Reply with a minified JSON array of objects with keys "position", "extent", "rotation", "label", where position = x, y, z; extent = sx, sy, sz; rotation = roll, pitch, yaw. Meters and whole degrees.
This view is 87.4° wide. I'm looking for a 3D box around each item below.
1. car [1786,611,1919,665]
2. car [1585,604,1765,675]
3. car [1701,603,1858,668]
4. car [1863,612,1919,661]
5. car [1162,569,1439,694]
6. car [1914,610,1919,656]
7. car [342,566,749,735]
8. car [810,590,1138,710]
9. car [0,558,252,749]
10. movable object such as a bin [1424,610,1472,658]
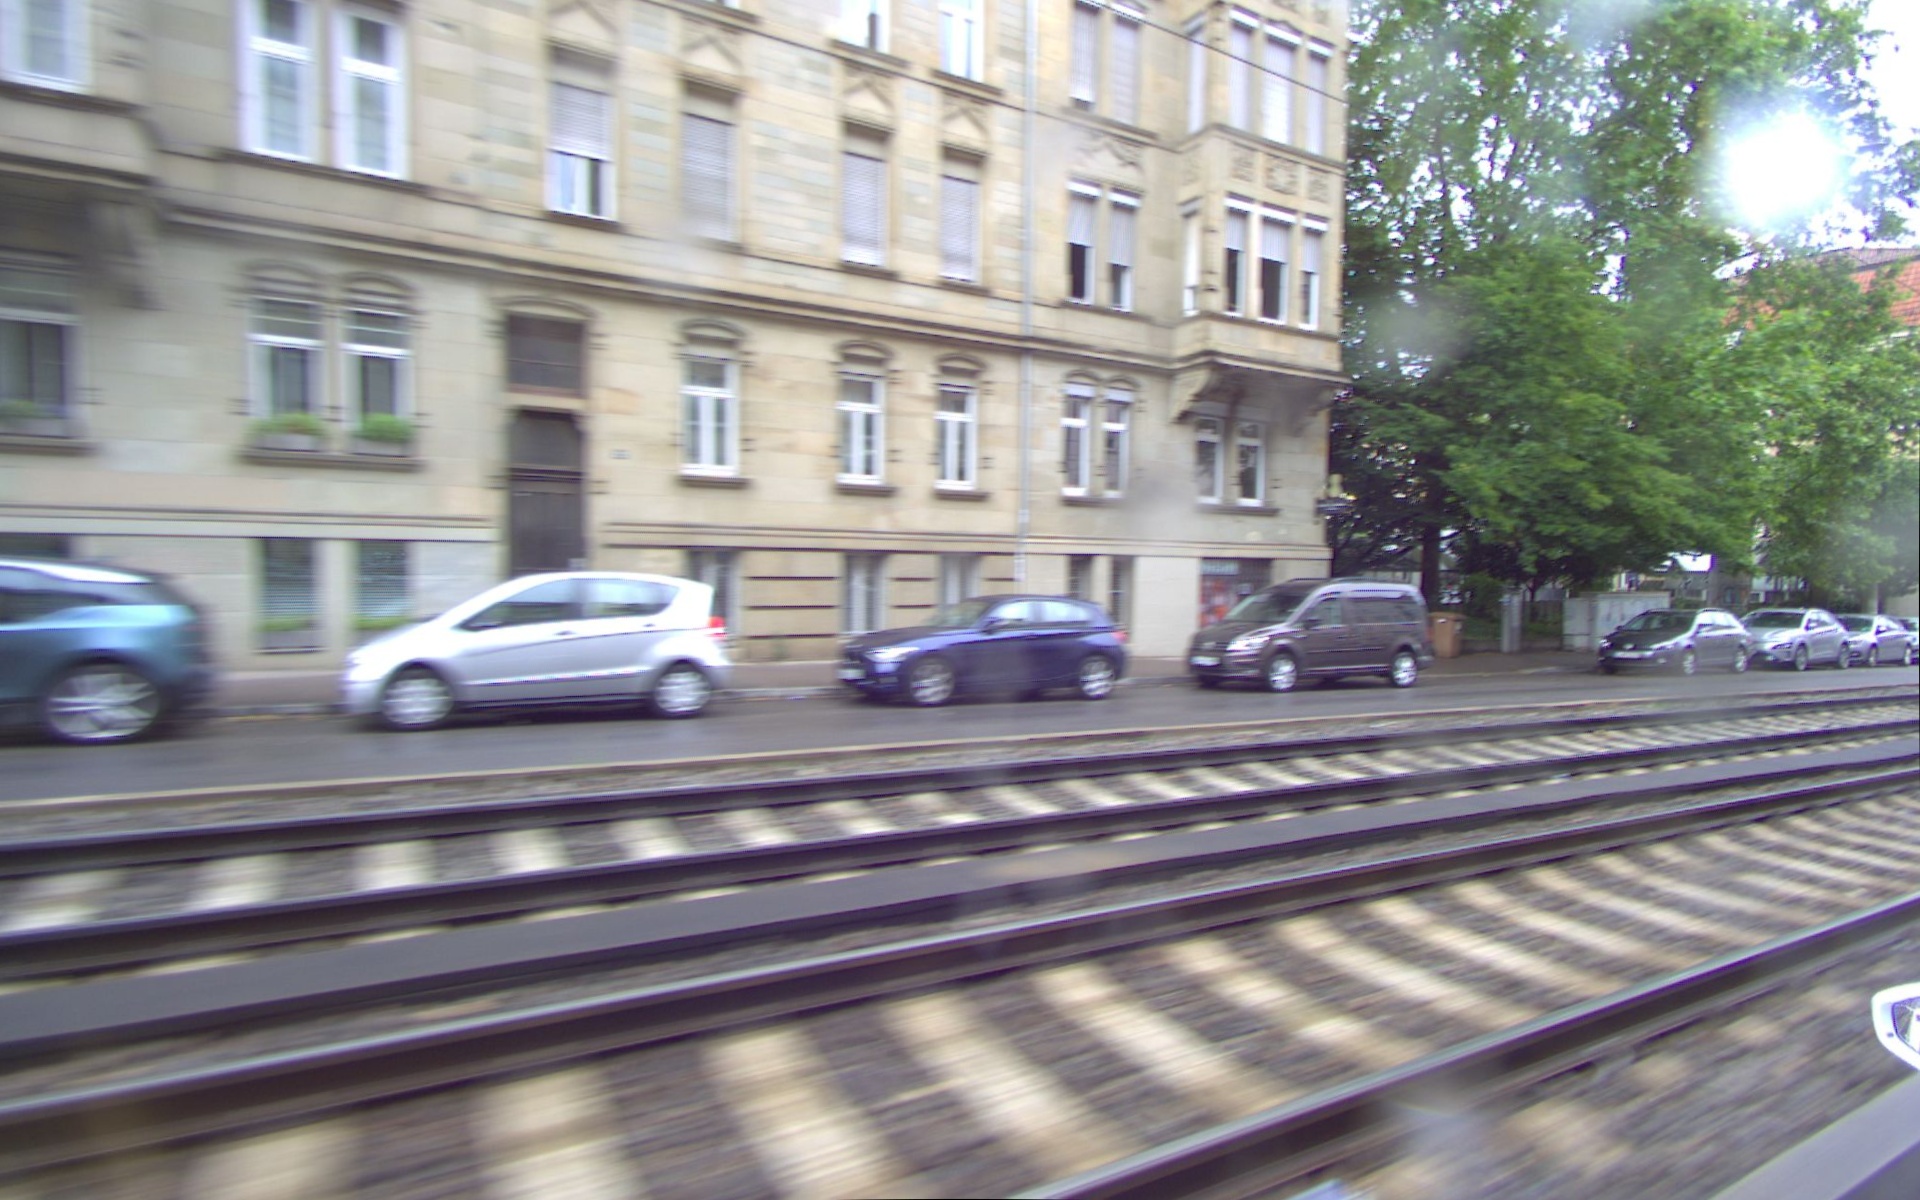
[{"position":[25.480,1.054,28.627],"extent":[4.106,1.432,1.745],"rotation":[1,-1,-31],"label":"car"},{"position":[16.570,0.883,23.217],"extent":[4.500,1.483,1.839],"rotation":[1,-1,-32],"label":"car"},{"position":[21.269,0.901,26.028],"extent":[4.491,1.556,1.745],"rotation":[1,-1,-31],"label":"car"},{"position":[29.550,1.111,30.927],"extent":[3.907,1.432,1.531],"rotation":[1,-1,-31],"label":"car"},{"position":[5.842,0.512,17.049],"extent":[4.762,1.871,1.792],"rotation":[1,-1,-31],"label":"car"},{"position":[33.595,1.111,33.514],"extent":[4.107,1.525,1.531],"rotation":[1,-1,-31],"label":"car"},{"position":[-4.398,0.492,10.875],"extent":[3.809,1.544,1.687],"rotation":[1,-1,-30],"label":"car"},{"position":[0.251,0.626,13.742],"extent":[4.221,1.416,1.753],"rotation":[1,-1,-31],"label":"car"},{"position":[-8.660,0.417,8.542],"extent":[4.120,1.528,1.861],"rotation":[1,0,-30],"label":"car"},{"position":[11.912,0.821,24.529],"extent":[0.763,1.135,0.714],"rotation":[1,1,-28],"label":"movable object such as a bin"}]
